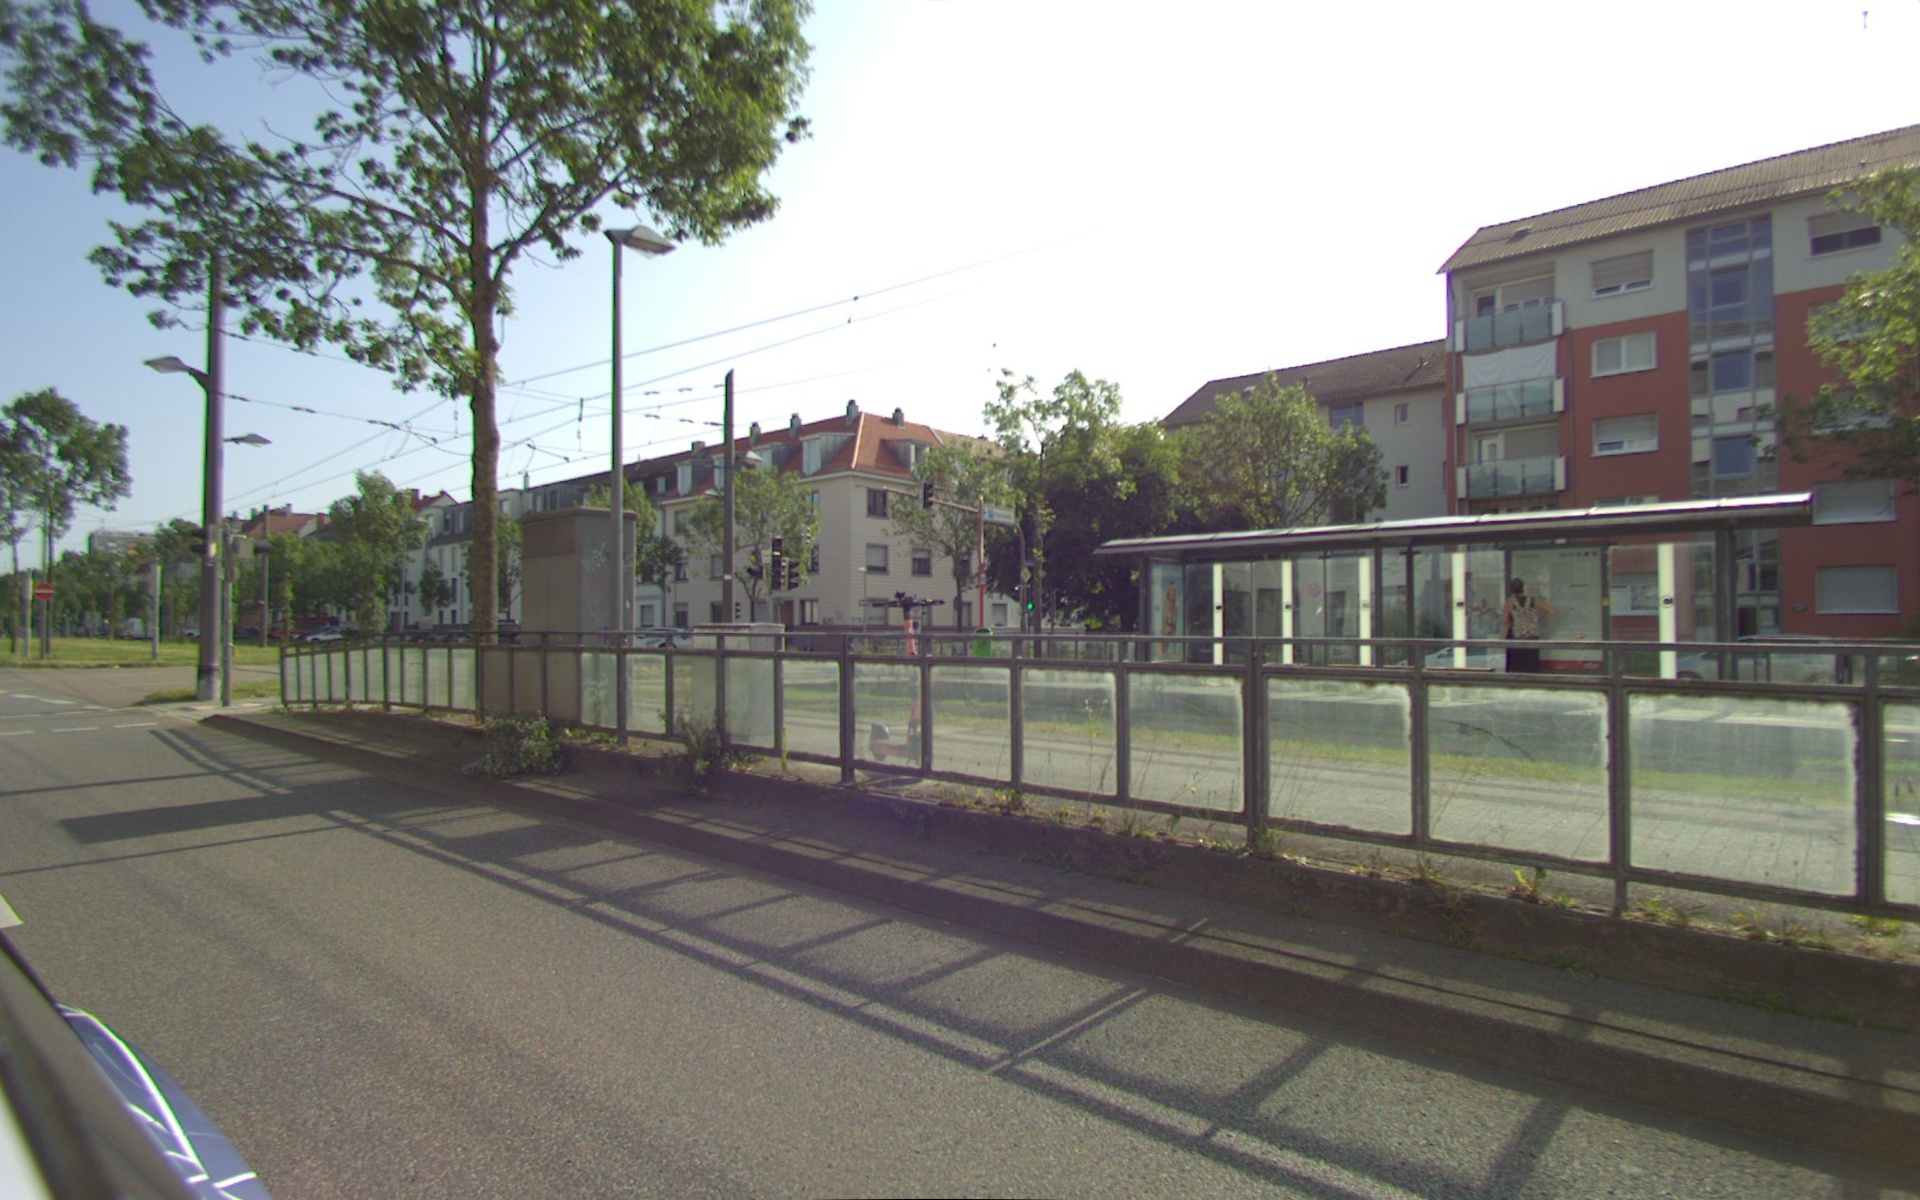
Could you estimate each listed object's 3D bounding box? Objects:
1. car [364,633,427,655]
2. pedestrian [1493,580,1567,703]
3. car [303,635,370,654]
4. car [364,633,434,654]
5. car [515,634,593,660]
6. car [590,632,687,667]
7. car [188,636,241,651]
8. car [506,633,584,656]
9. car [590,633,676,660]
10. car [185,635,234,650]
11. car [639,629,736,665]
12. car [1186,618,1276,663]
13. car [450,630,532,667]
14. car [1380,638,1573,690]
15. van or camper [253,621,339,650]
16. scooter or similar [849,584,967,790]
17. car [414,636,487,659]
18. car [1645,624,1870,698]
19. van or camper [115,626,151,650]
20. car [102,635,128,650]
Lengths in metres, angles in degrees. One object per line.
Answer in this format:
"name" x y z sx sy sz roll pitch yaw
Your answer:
"car" -40.028 3.121 71.790 3.715 1.386 1.670 -1 -1 -22
"pedestrian" 8.014 0.582 14.237 0.793 1.666 0.665 -2 -3 38
"car" -50.924 3.637 82.731 4.325 1.330 1.739 -1 -1 -15
"car" -41.073 3.169 74.190 4.265 1.386 2.006 -1 -1 -22
"car" -22.670 2.615 56.635 3.931 1.279 1.892 -1 -1 -18
"car" -15.796 2.439 49.949 4.391 1.526 2.005 -1 -1 -11
"car" -81.741 4.742 111.048 4.295 1.486 1.862 -1 -1 -10
"car" -24.085 2.603 58.865 3.932 1.268 1.881 1 -3 -15
"car" -16.799 2.386 52.161 3.937 1.187 2.003 -1 -1 -7
"car" -83.845 4.729 113.046 4.032 1.541 1.817 -1 -1 -10
"car" -12.834 2.188 47.729 4.280 1.474 1.969 -1 -1 -15
"car" 11.338 1.669 42.213 2.000 1.708 3.944 -2 -1 43
"car" -23.840 2.461 51.349 4.710 1.719 1.973 -2 -5 41
"car" 13.397 1.616 26.392 4.163 1.156 1.814 -2 -1 41
"van or camper" -60.134 3.212 91.740 6.062 2.566 2.419 0 -2 -10
"scooter or similar" -0.381 0.558 6.839 0.420 1.248 1.266 1 -3 -21
"car" -32.715 3.033 65.055 3.989 1.298 2.006 -1 -1 -21
"car" 17.847 1.310 22.753 3.825 1.482 1.814 -2 -1 41
"van or camper" -92.285 4.238 112.926 6.057 2.493 2.118 -2 -4 42
"car" -100.108 4.998 119.886 4.161 1.751 1.796 -2 -4 43
